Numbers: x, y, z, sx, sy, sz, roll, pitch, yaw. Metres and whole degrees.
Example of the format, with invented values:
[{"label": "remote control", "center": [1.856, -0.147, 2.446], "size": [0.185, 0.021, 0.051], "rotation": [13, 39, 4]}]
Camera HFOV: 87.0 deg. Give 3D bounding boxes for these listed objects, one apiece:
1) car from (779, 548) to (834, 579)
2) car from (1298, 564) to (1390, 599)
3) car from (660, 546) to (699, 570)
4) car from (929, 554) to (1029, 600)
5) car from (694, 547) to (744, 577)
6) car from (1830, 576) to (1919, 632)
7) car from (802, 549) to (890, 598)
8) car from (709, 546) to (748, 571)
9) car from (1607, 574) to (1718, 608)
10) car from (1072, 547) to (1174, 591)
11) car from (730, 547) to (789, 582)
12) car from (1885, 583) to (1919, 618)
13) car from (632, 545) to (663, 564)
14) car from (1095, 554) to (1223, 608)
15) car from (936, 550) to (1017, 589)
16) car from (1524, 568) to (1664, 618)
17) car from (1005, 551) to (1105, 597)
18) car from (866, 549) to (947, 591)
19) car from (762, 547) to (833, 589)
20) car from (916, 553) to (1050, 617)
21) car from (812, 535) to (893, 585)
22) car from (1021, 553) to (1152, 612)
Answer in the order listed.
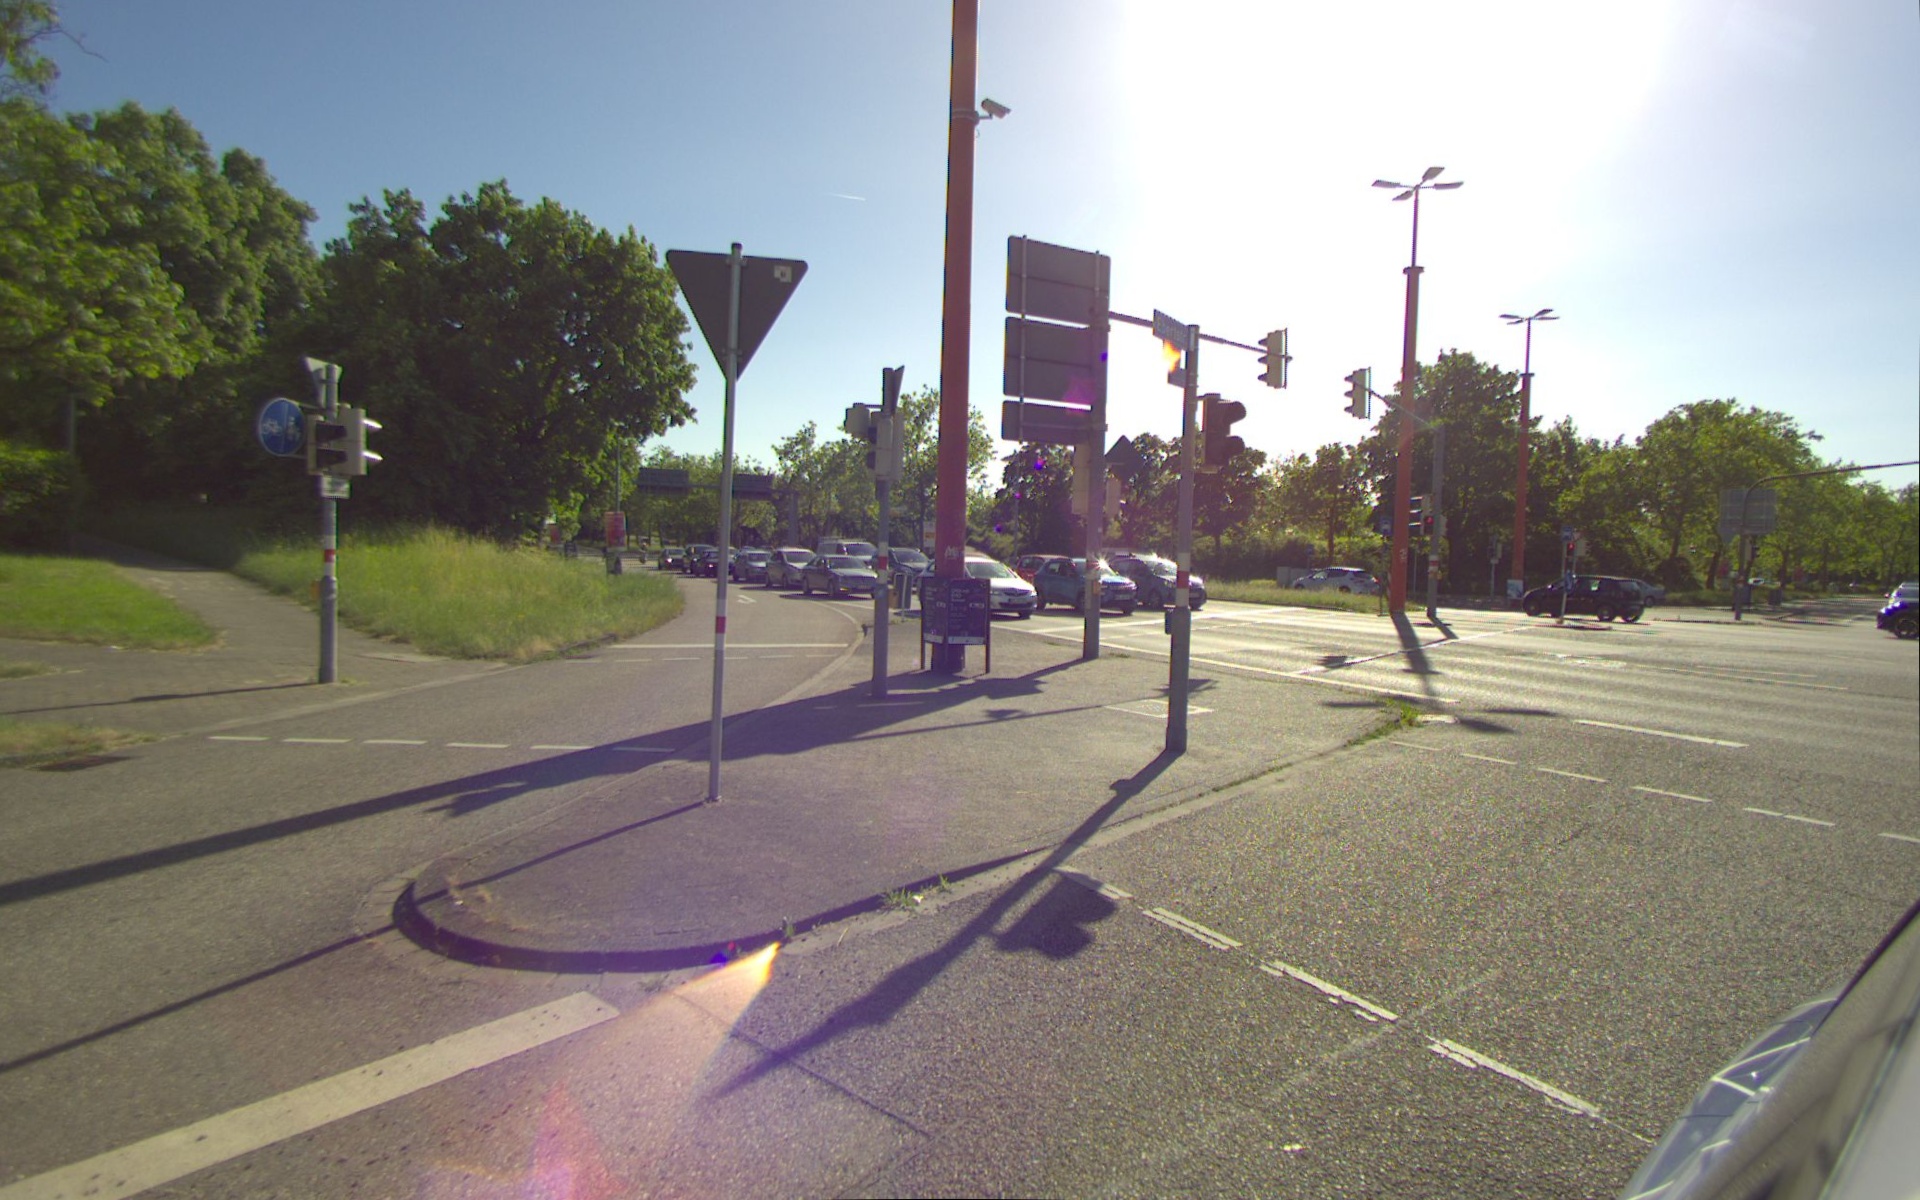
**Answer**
[{"label": "car", "center": [-8.061, -1.953, 52.825], "size": [1.763, 1.528, 4.008], "rotation": [-1, 3, -26]}, {"label": "car", "center": [17.778, -0.869, 46.979], "size": [1.581, 1.432, 3.873], "rotation": [1, 2, -28]}, {"label": "car", "center": [-18.226, -2.740, 65.648], "size": [1.763, 1.528, 4.008], "rotation": [-1, 3, -26]}, {"label": "car", "center": [0.567, -0.820, 34.041], "size": [1.763, 1.408, 4.008], "rotation": [-1, 3, -26]}, {"label": "car", "center": [-12.659, -2.019, 52.988], "size": [1.763, 1.528, 4.008], "rotation": [-1, 3, -26]}, {"label": "car", "center": [27.627, 0.147, 29.135], "size": [1.581, 1.524, 3.543], "rotation": [1, 3, -30]}, {"label": "car", "center": [-3.964, -0.952, 34.662], "size": [1.763, 1.528, 4.008], "rotation": [-1, 3, -26]}, {"label": "car", "center": [-15.029, -2.719, 65.585], "size": [1.763, 1.528, 4.009], "rotation": [0, 3, -24]}, {"label": "car", "center": [34.939, -0.458, 50.379], "size": [4.542, 1.528, 1.804], "rotation": [1, 2, -11]}, {"label": "car", "center": [5.991, -1.180, 37.742], "size": [1.763, 1.528, 4.008], "rotation": [-1, 3, -26]}, {"label": "car", "center": [-9.347, -1.661, 46.990], "size": [1.763, 1.528, 4.008], "rotation": [-1, 3, -26]}, {"label": "car", "center": [43.658, 0.021, 46.174], "size": [3.932, 1.529, 1.797], "rotation": [0, 3, -43]}, {"label": "car", "center": [-25.208, -3.689, 81.568], "size": [1.763, 1.528, 4.008], "rotation": [-1, 3, -26]}, {"label": "car", "center": [5.981, -0.634, 30.897], "size": [1.763, 1.499, 4.008], "rotation": [-1, 3, -26]}, {"label": "car", "center": [0.623, -1.307, 42.372], "size": [1.763, 1.499, 4.008], "rotation": [-1, 3, -26]}, {"label": "car", "center": [20.911, -0.248, 33.510], "size": [1.581, 1.447, 3.544], "rotation": [1, 2, -29]}, {"label": "car", "center": [3.382, -0.982, 36.710], "size": [1.763, 1.528, 4.008], "rotation": [-1, 3, -26]}, {"label": "car", "center": [-2.178, -1.205, 39.788], "size": [1.763, 1.524, 4.008], "rotation": [-1, 3, -26]}, {"label": "car", "center": [-6.640, -1.346, 41.080], "size": [1.763, 1.604, 4.008], "rotation": [-1, 3, -26]}, {"label": "car", "center": [0.503, -0.461, 26.538], "size": [1.763, 1.499, 4.294], "rotation": [-1, 3, -26]}, {"label": "car", "center": [-4.970, -1.866, 46.102], "size": [2.049, 2.112, 5.204], "rotation": [-1, 3, -26]}, {"label": "car", "center": [3.465, -0.544, 28.521], "size": [1.763, 1.499, 4.008], "rotation": [-1, 3, -26]}]
